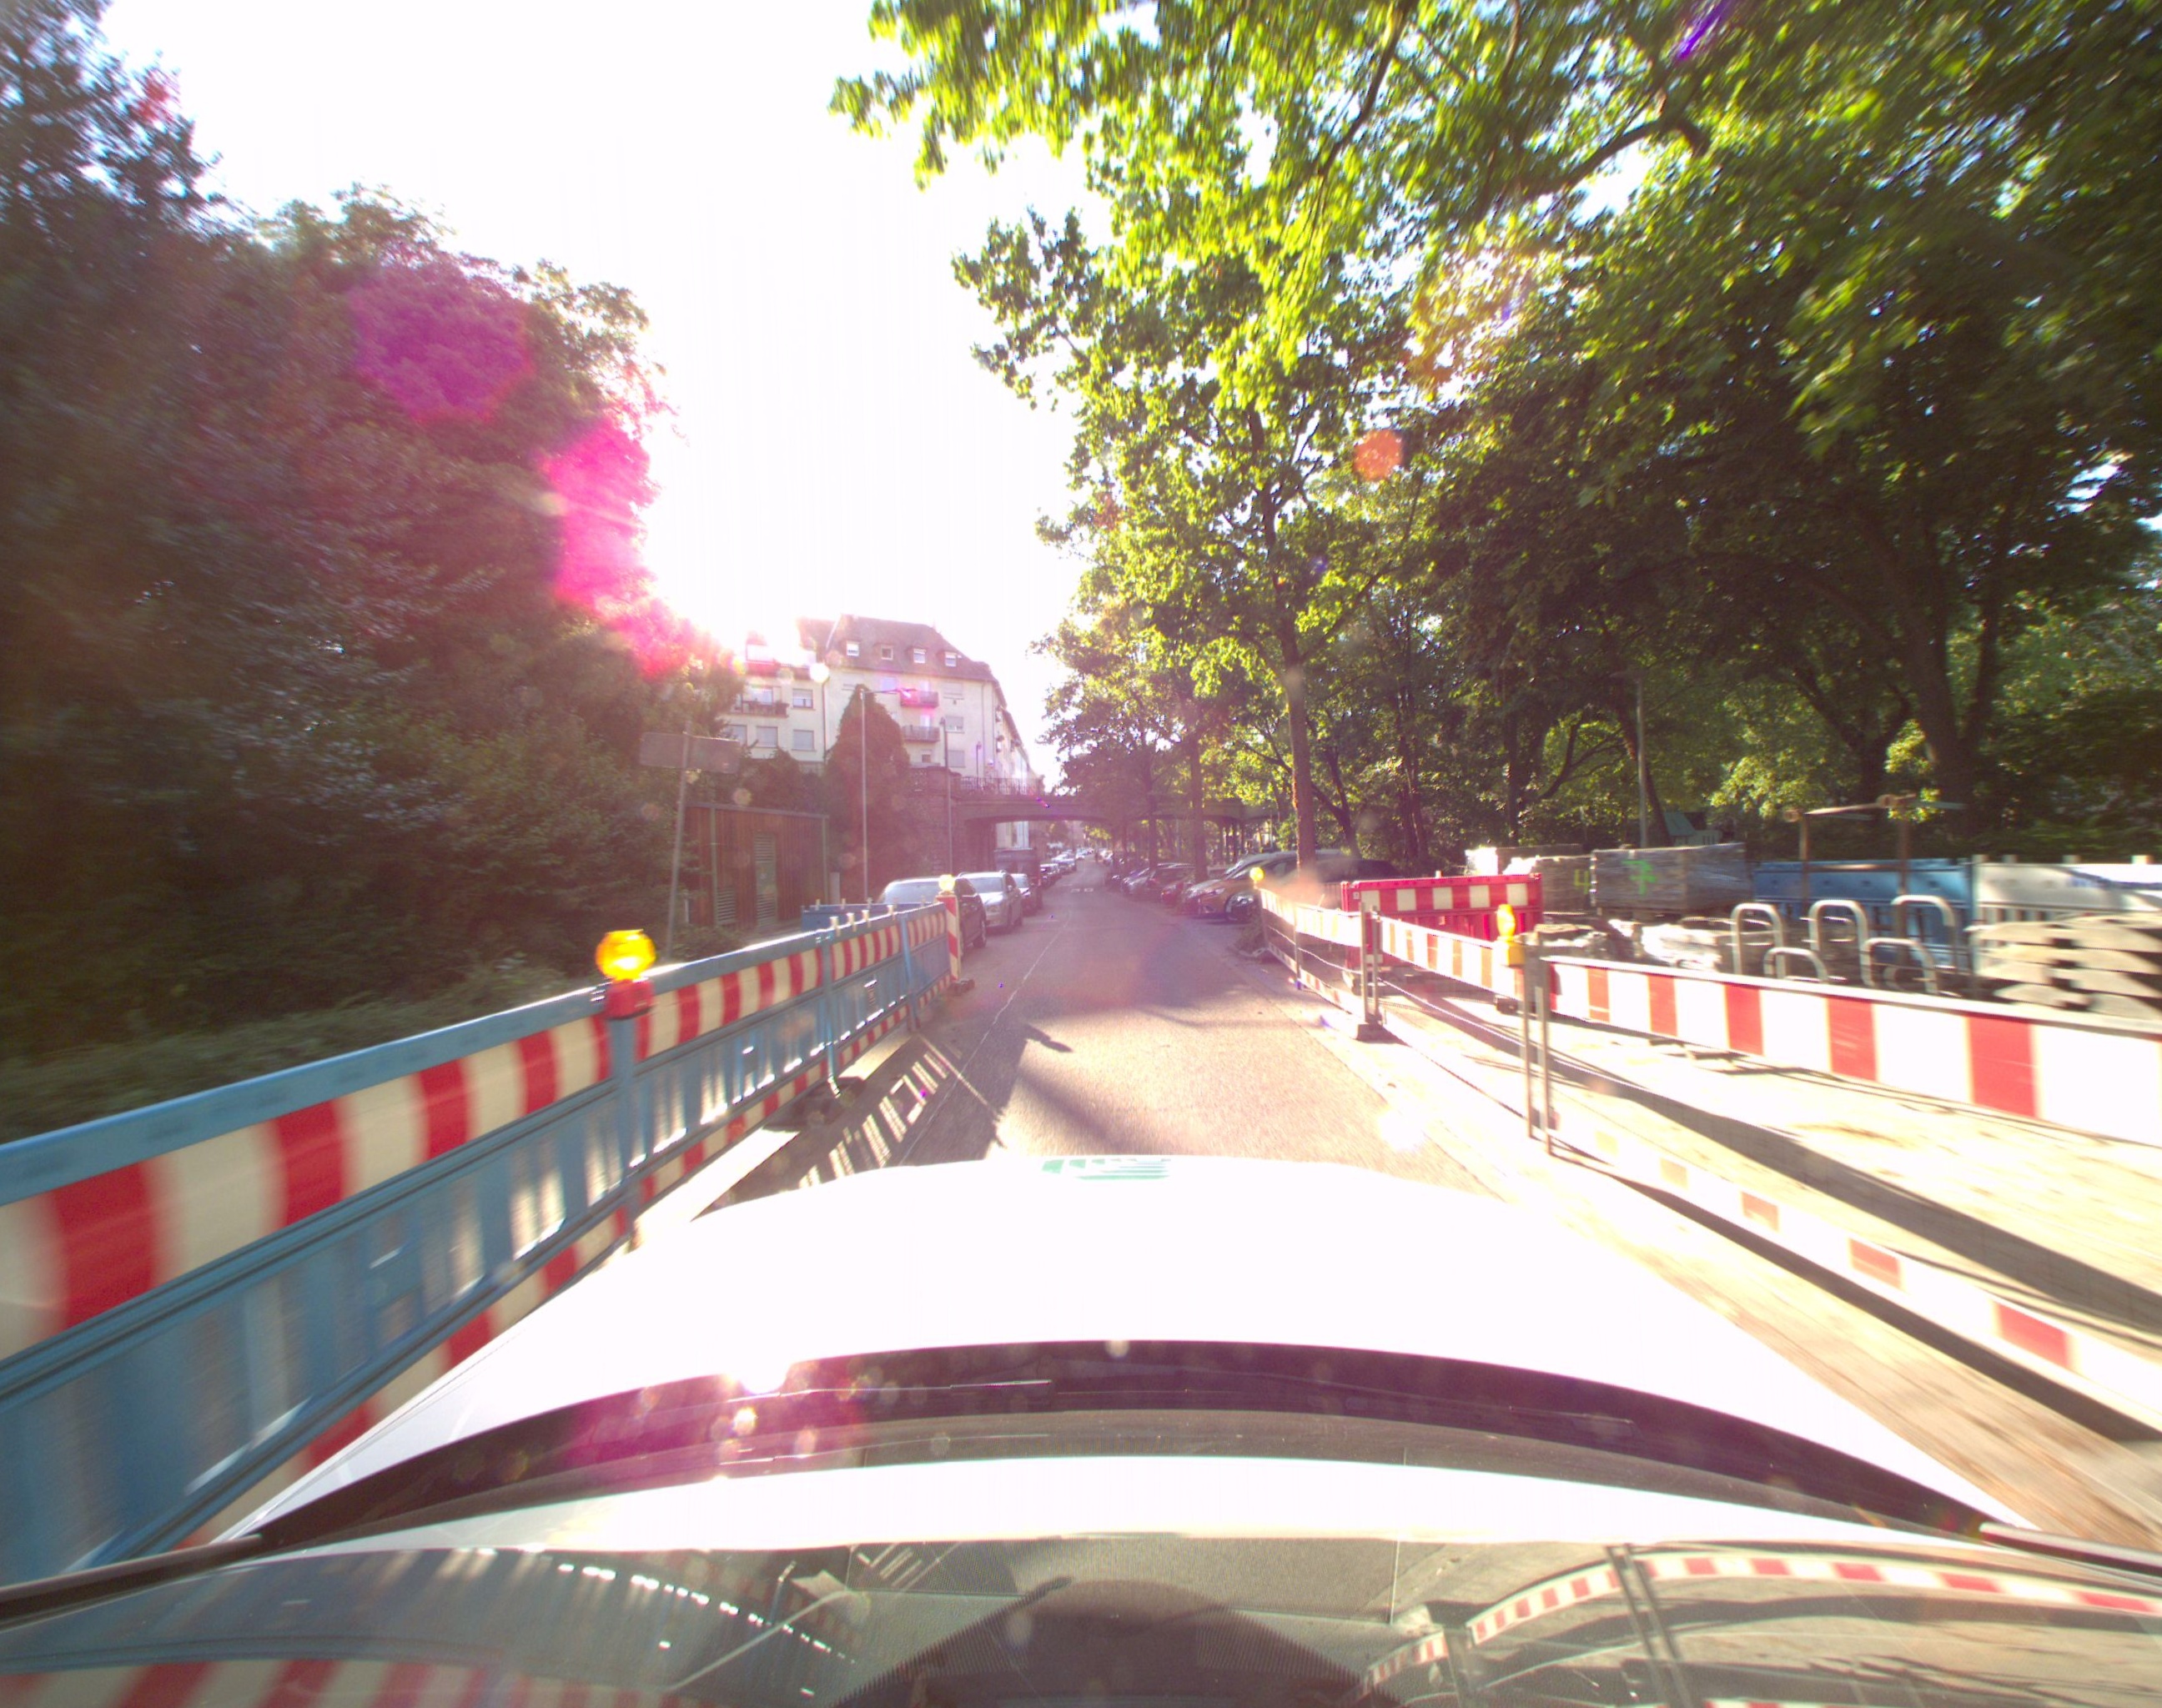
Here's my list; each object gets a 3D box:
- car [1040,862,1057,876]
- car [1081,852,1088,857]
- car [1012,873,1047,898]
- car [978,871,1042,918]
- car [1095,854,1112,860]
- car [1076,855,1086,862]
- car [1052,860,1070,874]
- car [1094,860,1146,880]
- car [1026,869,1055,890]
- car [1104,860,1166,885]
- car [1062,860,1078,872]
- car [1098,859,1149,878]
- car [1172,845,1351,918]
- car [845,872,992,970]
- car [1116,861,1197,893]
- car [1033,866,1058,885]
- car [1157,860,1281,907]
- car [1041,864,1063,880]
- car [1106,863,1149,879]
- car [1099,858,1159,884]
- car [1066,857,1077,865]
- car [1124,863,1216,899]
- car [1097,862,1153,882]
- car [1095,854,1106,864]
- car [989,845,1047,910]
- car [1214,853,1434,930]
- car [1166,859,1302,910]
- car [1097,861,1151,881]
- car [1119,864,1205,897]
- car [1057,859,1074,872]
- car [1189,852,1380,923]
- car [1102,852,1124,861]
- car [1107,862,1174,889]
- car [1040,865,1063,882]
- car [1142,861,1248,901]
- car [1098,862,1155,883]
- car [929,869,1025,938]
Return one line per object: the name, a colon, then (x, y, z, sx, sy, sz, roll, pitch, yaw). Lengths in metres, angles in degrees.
car: (-3.803, 1.742, 96.052, 1.806, 1.501, 3.975, -3, -1, 0)
car: (0.966, 0.158, 234.637, 1.806, 1.397, 4.611, -3, -1, 0)
car: (-3.161, 1.894, 50.482, 1.806, 1.397, 3.975, -3, -1, 0)
car: (-2.431, 1.391, 28.952, 1.806, 1.453, 4.349, -3, -1, 0)
car: (5.942, 0.807, 212.823, 4.372, 1.610, 1.781, 0, -2, 1)
car: (-0.013, 0.904, 167.779, 1.806, 1.397, 3.975, -3, -1, 0)
car: (-2.204, 1.485, 91.092, 1.806, 1.397, 3.975, -3, -1, 0)
car: (3.339, 1.393, 69.902, 4.375, 1.610, 1.779, 0, -2, -2)
car: (-2.957, 1.876, 60.064, 1.806, 1.397, 3.975, -3, -1, 0)
car: (3.873, 1.365, 59.147, 4.375, 1.785, 1.915, 0, -2, -2)
car: (-1.341, 1.483, 100.872, 1.806, 1.397, 3.975, -3, -1, 0)
car: (3.704, 1.307, 71.869, 4.375, 1.610, 1.779, 0, -2, -2)
car: (5.113, 0.785, 23.483, 4.730, 1.997, 1.915, 0, -2, -3)
car: (-2.716, 1.070, 14.539, 1.709, 1.418, 4.106, -3, -1, 0)
car: (4.196, 1.294, 45.914, 4.375, 1.785, 1.915, 0, -2, -2)
car: (-2.841, 1.744, 66.126, 1.806, 1.397, 3.975, -3, -1, 0)
car: (5.155, 1.102, 30.836, 4.375, 1.702, 1.915, 0, -2, -2)
car: (-2.770, 1.696, 78.367, 1.806, 1.397, 3.975, -3, -1, 0)
car: (4.806, 1.736, 84.885, 4.372, 1.610, 1.781, 0, -2, 1)
car: (3.563, 1.285, 61.229, 4.375, 1.862, 1.915, 0, -2, -2)
car: (-1.796, 1.282, 151.201, 1.806, 1.397, 3.975, -3, -1, 0)
car: (4.391, 1.339, 40.612, 4.375, 1.702, 1.915, 0, -2, -2)
car: (3.519, 1.471, 65.354, 4.375, 1.610, 1.779, 0, -2, -2)
car: (3.283, 0.882, 138.062, 1.768, 1.610, 4.402, 0, -2, 1)
car: (-2.544, 0.984, 34.179, 2.041, 2.497, 5.694, 0, -1, -1)
car: (5.358, 0.826, 18.343, 4.377, 1.606, 1.914, 0, -2, -3)
car: (5.270, 1.058, 28.435, 4.375, 1.702, 1.915, 0, -2, -2)
car: (3.535, 1.419, 67.323, 4.375, 1.610, 1.779, 0, -2, -2)
car: (4.266, 1.408, 43.313, 4.375, 1.702, 1.915, 0, -2, -2)
car: (-1.818, 1.382, 96.089, 1.806, 1.397, 3.975, -3, -1, 0)
car: (5.084, 0.843, 20.797, 4.375, 1.702, 1.915, 0, -2, -2)
car: (6.314, 0.516, 162.209, 4.372, 1.610, 1.781, 0, -2, 1)
car: (3.953, 1.459, 54.666, 4.375, 1.785, 1.915, 0, -2, -2)
car: (-2.603, 1.721, 72.538, 1.806, 1.397, 3.975, -3, -1, 0)
car: (4.950, 1.196, 35.877, 4.375, 1.702, 1.915, 0, -2, -2)
car: (3.508, 1.443, 63.279, 4.375, 1.610, 1.779, 0, -2, -2)
car: (-2.470, 1.148, 20.367, 1.806, 1.440, 4.350, 0, 0, 0)
